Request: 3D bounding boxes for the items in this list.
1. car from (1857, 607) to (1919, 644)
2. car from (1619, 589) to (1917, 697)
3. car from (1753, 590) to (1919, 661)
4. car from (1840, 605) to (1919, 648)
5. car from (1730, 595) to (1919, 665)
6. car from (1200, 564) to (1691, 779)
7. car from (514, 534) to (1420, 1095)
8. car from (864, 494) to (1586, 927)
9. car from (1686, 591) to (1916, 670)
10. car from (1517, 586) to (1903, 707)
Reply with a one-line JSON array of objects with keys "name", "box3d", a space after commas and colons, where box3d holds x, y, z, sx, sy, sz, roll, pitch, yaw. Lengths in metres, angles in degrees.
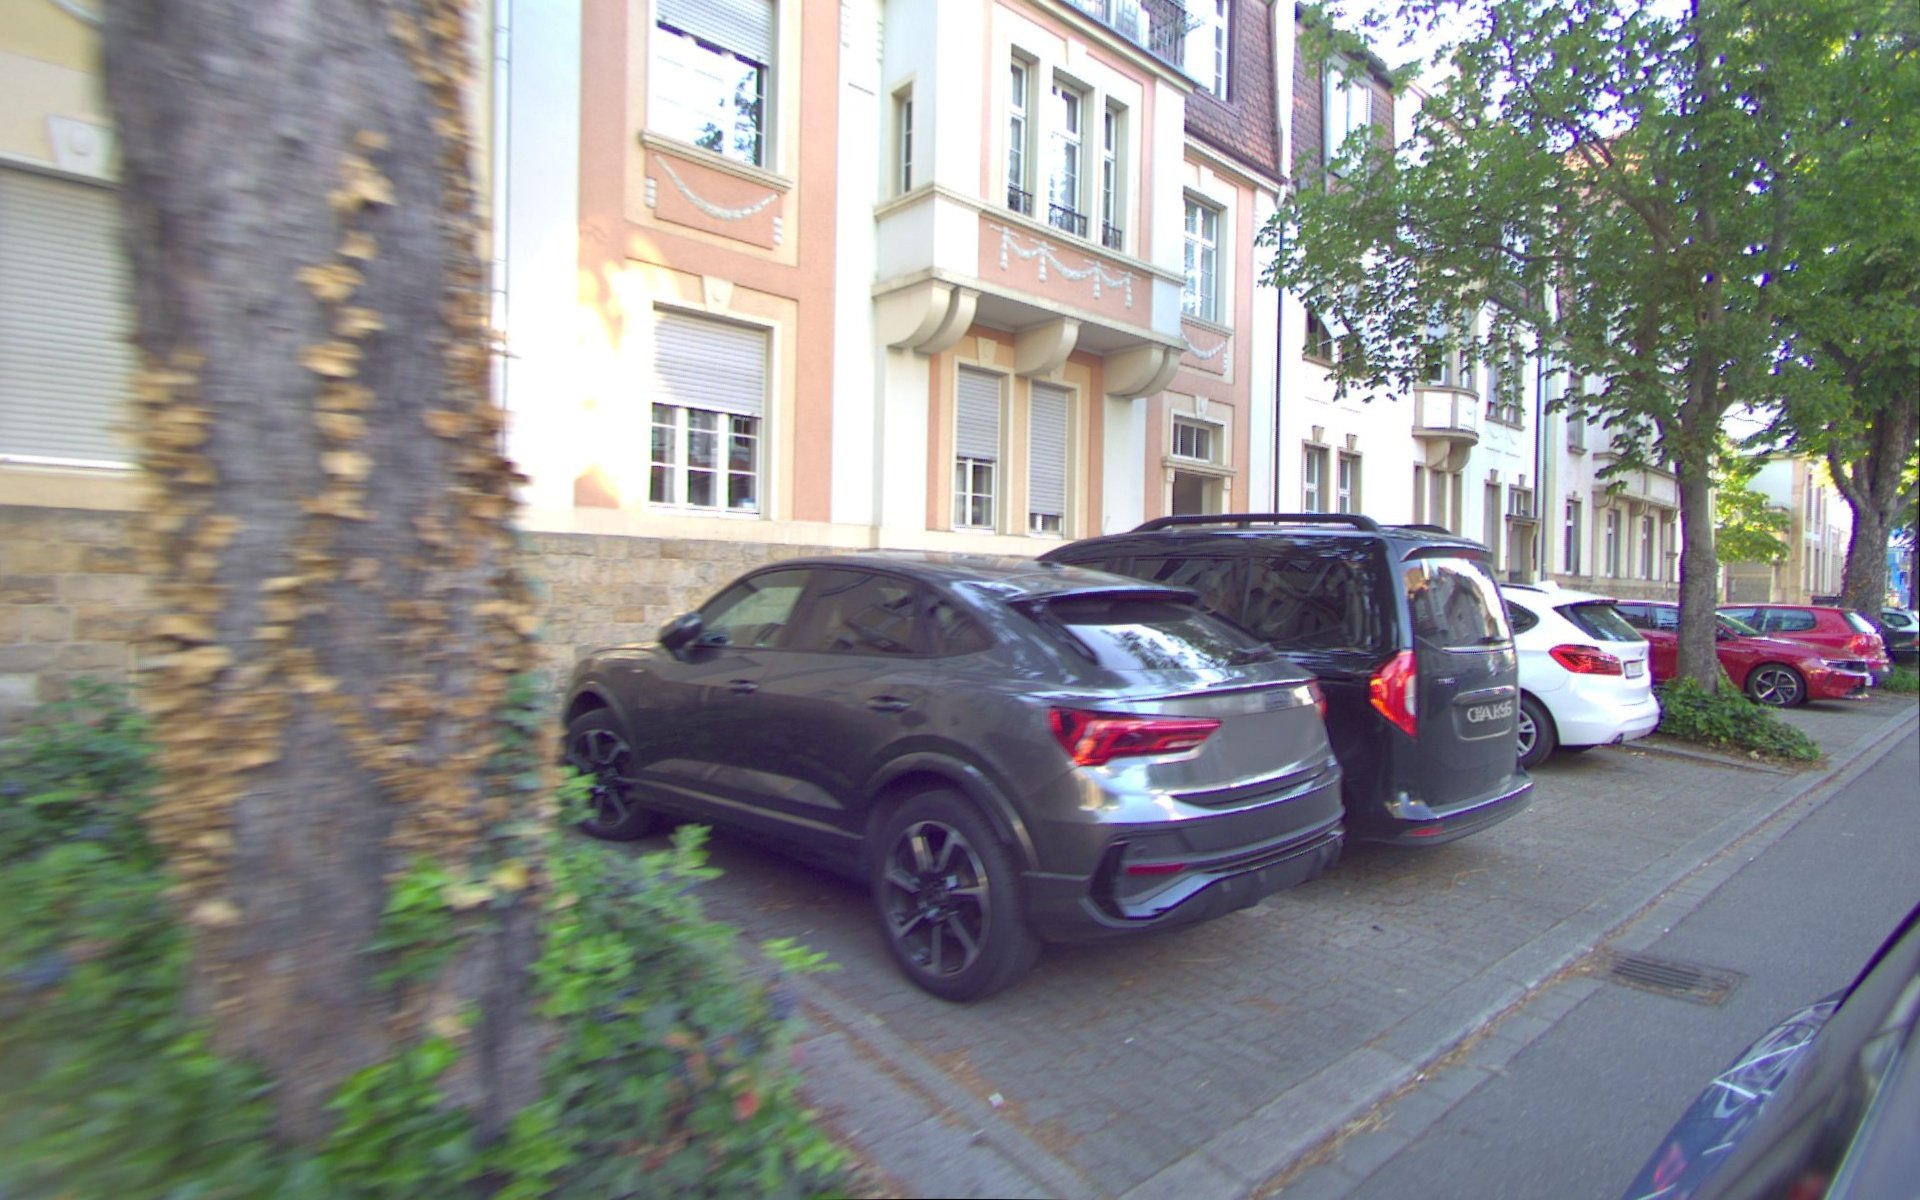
[{"name": "car", "box3d": [30.885, 0.848, 32.142, 1.515, 1.076, 3.399, 0, 2, -39]}, {"name": "car", "box3d": [13.644, 0.639, 17.265, 1.628, 1.499, 3.681, 0, 2, -38]}, {"name": "car", "box3d": [22.544, 0.594, 25.564, 1.548, 1.577, 3.680, 0, 2, -39]}, {"name": "car", "box3d": [28.525, 0.818, 30.056, 1.515, 1.164, 3.399, 0, 2, -39]}, {"name": "car", "box3d": [20.654, 0.657, 23.892, 1.548, 1.416, 3.680, 0, 2, -39]}, {"name": "car", "box3d": [4.511, 0.500, 9.872, 1.689, 1.597, 3.947, 0, 2, -41]}, {"name": "car", "box3d": [-0.396, 0.492, 5.022, 1.815, 1.542, 4.512, 0, 2, -45]}, {"name": "car", "box3d": [1.371, 0.386, 6.473, 1.814, 1.860, 4.115, 0, 2, -43]}, {"name": "car", "box3d": [18.555, 0.609, 22.467, 1.548, 1.484, 3.680, 0, 2, -39]}, {"name": "car", "box3d": [11.549, 0.599, 15.888, 1.833, 1.470, 4.532, 0, 2, -38]}]
